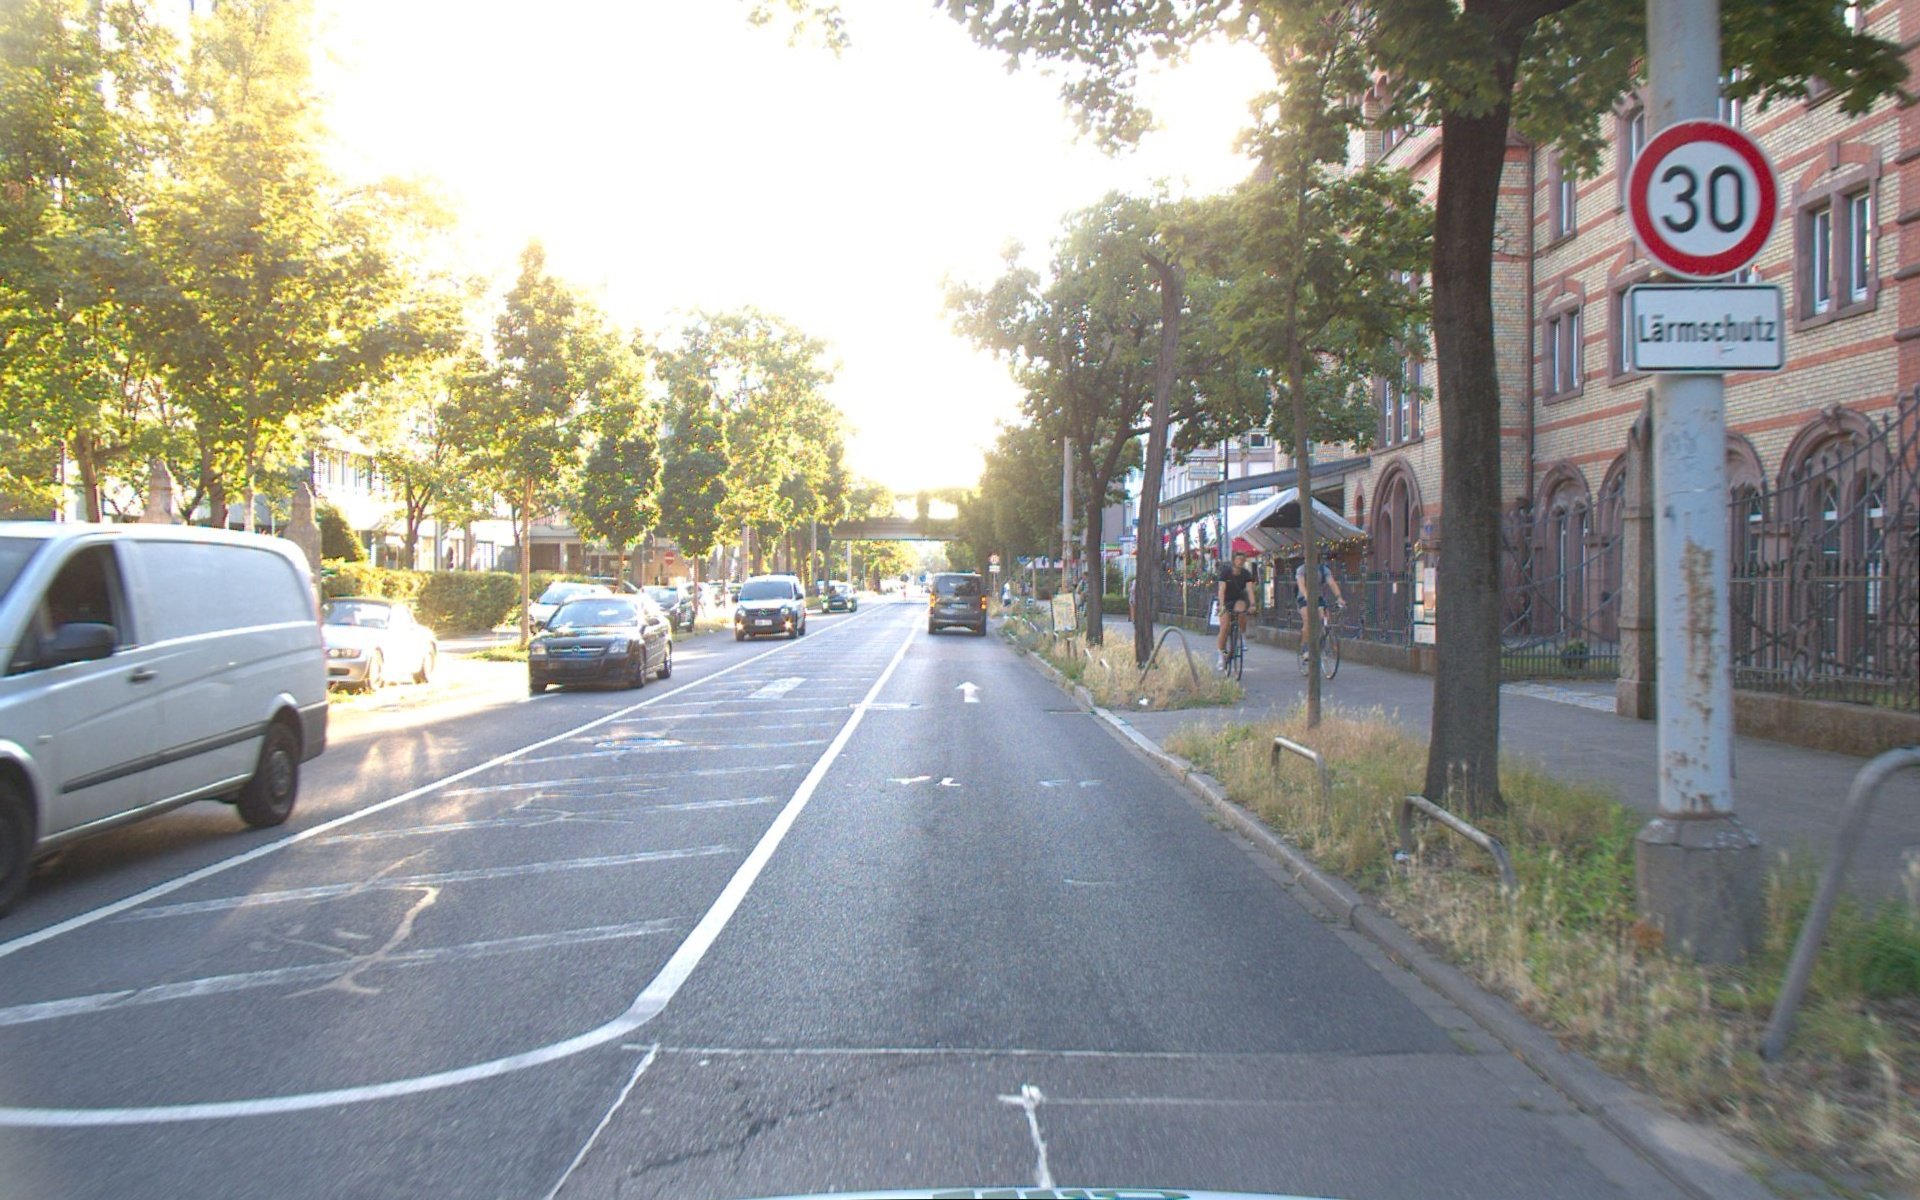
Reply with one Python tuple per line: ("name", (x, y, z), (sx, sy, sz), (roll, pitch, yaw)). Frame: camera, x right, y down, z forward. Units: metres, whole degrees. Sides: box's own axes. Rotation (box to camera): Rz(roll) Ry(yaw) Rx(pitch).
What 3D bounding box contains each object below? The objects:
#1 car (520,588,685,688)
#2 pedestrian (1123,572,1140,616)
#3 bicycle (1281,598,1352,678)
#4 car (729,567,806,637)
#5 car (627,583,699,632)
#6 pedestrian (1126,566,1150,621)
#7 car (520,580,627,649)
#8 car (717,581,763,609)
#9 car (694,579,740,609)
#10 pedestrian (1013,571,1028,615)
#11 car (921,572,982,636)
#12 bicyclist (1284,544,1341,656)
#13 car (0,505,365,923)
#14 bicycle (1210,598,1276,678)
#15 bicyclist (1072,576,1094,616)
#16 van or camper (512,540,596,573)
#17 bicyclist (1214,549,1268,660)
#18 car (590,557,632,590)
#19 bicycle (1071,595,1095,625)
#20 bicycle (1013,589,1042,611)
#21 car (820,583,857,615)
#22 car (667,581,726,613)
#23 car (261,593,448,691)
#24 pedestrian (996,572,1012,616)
("car", (-5.648, 0.543, 26.611), (1.723, 1.410, 4.304), (-1, 1, -1))
("pedestrian", (5.462, -0.204, 52.638), (0.457, 1.374, 0.530), (2, 0, 0))
("bicycle", (5.089, 0.518, 23.727), (0.507, 1.058, 2.088), (2, 1, -1))
("car", (-5.512, 0.026, 47.844), (1.796, 1.885, 4.473), (-1, 1, -2))
("car", (-9.250, 0.214, 51.778), (1.605, 1.410, 3.999), (2, 1, -2))
("pedestrian", (5.542, -0.202, 51.412), (0.631, 1.661, 0.656), (2, 0, 0))
("car", (-9.118, 0.304, 39.326), (1.662, 1.477, 3.999), (2, 1, -2))
("car", (-12.027, -0.286, 90.718), (1.953, 1.439, 4.237), (2, 1, -1))
("car", (-11.745, -0.299, 80.098), (1.637, 1.336, 3.964), (2, 1, -1))
("pedestrian", (2.681, -0.324, 73.281), (0.496, 1.921, 0.543), (2, 0, -15))
("car", (-0.247, 0.086, 52.814), (1.849, 1.958, 3.839), (-1, 1, 0))
("bicyclist", (5.077, -0.008, 23.855), (0.583, 1.559, 0.893), (2, 0, -1))
("car", (-5.256, 0.500, 9.230), (1.953, 1.863, 5.170), (-1, 1, 0))
("bicycle", (4.065, 0.522, 23.874), (0.533, 1.058, 2.088), (2, 1, -1))
("bicyclist", (3.964, -0.148, 53.188), (0.573, 1.258, 1.112), (2, 1, -1))
("van or camper", (-34.402, -3.706, 140.352), (6.431, 2.566, 2.448), (2, 1, -3))
("bicyclist", (4.077, 0.061, 24.020), (0.583, 1.559, 0.893), (2, 0, -1))
("car", (-25.819, -1.946, 122.614), (1.953, 2.348, 5.245), (2, 1, 0))
("bicycle", (3.947, 0.308, 53.156), (0.567, 0.913, 1.987), (2, 1, 0))
("bicycle", (3.014, -0.002, 74.128), (0.579, 0.913, 1.976), (2, 1, -20))
("car", (-6.330, -0.075, 86.591), (1.645, 1.556, 4.000), (-2, 1, -1))
("car", (-11.638, -0.153, 73.187), (1.953, 1.333, 4.065), (2, 1, -1))
("car", (-8.908, 0.576, 24.604), (1.505, 1.270, 3.613), (2, 1, -2))
("pedestrian", (1.965, -0.263, 73.678), (0.496, 1.921, 0.543), (2, 0, -15))
